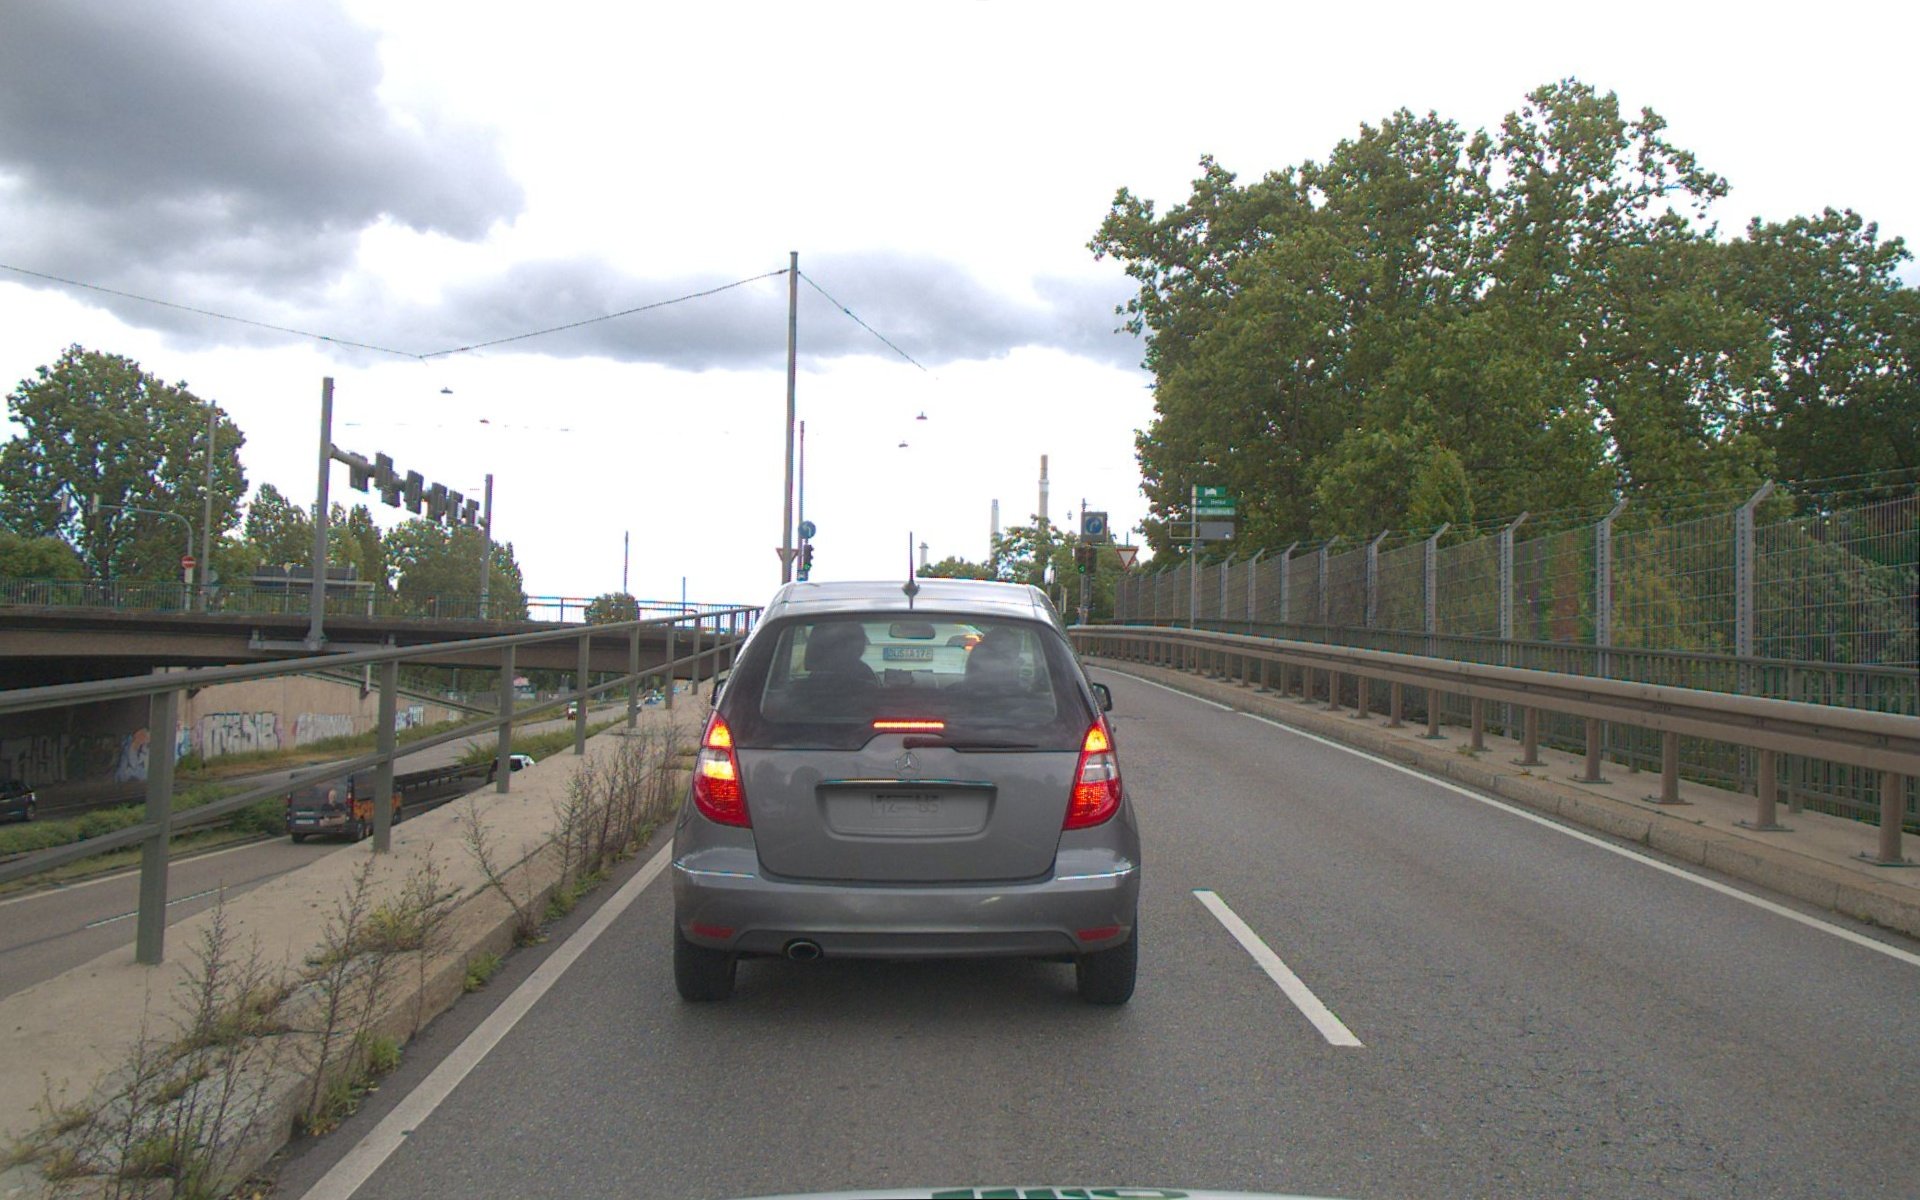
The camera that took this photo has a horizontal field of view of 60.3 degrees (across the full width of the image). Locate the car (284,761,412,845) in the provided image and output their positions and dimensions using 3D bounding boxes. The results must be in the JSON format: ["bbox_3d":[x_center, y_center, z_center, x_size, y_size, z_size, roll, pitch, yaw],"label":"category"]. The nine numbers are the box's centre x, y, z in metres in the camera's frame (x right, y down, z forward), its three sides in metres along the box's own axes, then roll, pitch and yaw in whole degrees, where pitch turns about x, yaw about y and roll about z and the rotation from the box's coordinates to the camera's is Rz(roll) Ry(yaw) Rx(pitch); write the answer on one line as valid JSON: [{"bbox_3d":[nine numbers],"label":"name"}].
[{"bbox_3d":[-17.520,5.780,47.627,1.860,2.038,4.956,1,-3,-1],"label":"car"}]

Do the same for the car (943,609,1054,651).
[{"bbox_3d":[1.575,1.214,66.972,4.294,1.604,1.817,1,0,-34],"label":"car"}]

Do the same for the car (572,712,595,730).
[{"bbox_3d":[-45.214,14.505,198.576,1.954,2.103,5.171,1,-3,-5],"label":"car"}]

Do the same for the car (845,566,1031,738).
[{"bbox_3d":[-0.332,0.544,19.246,1.893,1.747,4.403,1,0,-3],"label":"car"}]

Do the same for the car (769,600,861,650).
[{"bbox_3d":[-5.797,0.961,65.569,1.974,1.903,4.167,1,0,-32],"label":"car"}]

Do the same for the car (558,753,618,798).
[{"bbox_3d":[-15.771,7.446,70.343,1.861,1.650,4.174,1,-3,-4],"label":"car"}]

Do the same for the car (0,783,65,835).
[{"bbox_3d":[-30.518,6.679,52.862,1.676,1.400,4.108,-1,-3,-2],"label":"car"}]

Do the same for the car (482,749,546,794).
[{"bbox_3d":[-19.136,7.346,71.058,1.861,1.650,4.174,1,-3,-4],"label":"car"}]

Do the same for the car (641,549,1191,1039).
[{"bbox_3d":[-0.172,0.652,7.552,1.820,1.616,3.999,1,0,-1],"label":"car"}]
